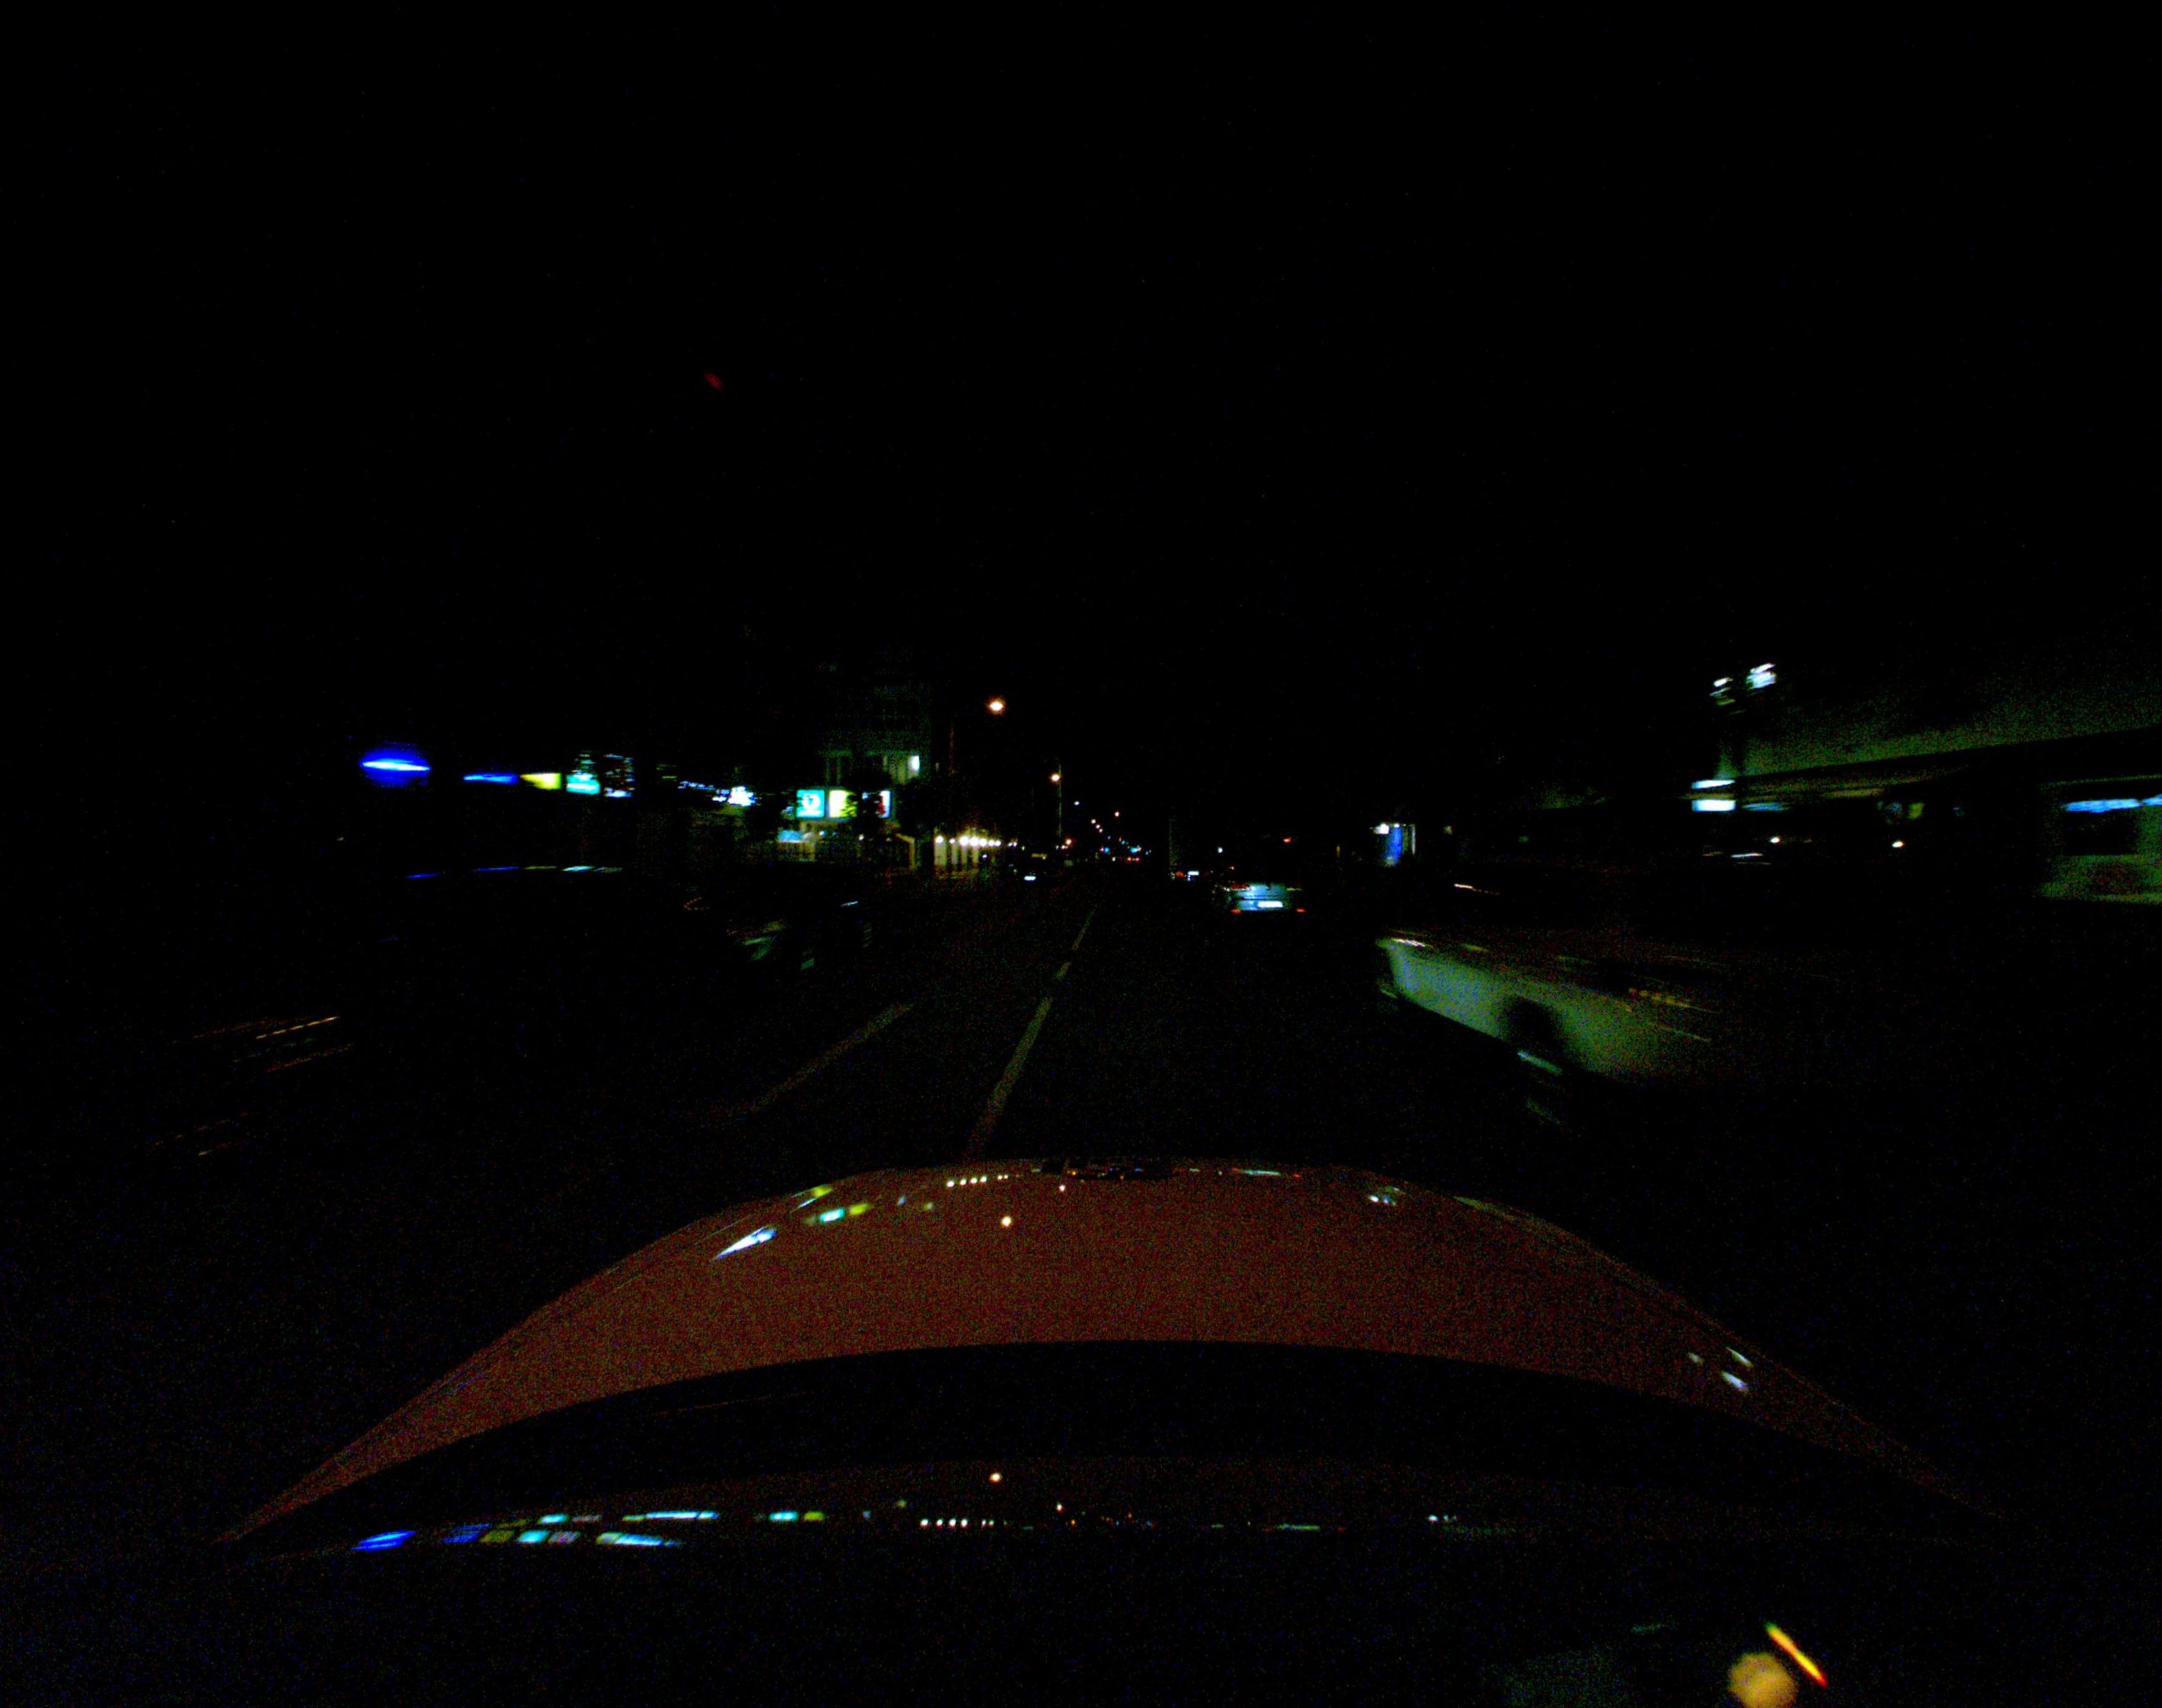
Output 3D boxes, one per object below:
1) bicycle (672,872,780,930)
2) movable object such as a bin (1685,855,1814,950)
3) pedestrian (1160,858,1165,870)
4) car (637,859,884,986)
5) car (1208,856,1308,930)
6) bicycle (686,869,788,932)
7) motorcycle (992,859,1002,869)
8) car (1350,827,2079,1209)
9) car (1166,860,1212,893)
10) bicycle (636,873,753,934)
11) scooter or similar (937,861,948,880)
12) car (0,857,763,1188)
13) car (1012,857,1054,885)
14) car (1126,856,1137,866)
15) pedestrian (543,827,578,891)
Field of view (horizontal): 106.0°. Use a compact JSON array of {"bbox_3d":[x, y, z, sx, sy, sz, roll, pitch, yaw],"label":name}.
[{"bbox_3d":[-6.910,0.907,15.897,1.843,1.035,0.533,2,0,2],"label":"bicycle"},{"bbox_3d":[10.084,0.707,12.332,1.156,1.371,0.993,1,0,1],"label":"movable object such as a bin"},{"bbox_3d":[12.336,1.472,123.146,0.700,1.818,1.083,0,0,3],"label":"pedestrian"},{"bbox_3d":[-4.282,0.823,11.622,1.715,1.428,3.979,2,0,3],"label":"car"},{"bbox_3d":[4.028,0.825,19.138,1.682,1.537,4.019,-1,0,3],"label":"car"},{"bbox_3d":[-6.989,0.934,16.567,1.843,1.254,0.533,0,0,2],"label":"bicycle"},{"bbox_3d":[-8.306,1.000,80.538,0.475,1.020,1.681,0,0,13],"label":"motorcycle"},{"bbox_3d":[3.296,0.693,5.476,1.762,1.537,4.220,-2,0,3],"label":"car"},{"bbox_3d":[4.947,0.988,37.713,1.756,1.414,4.812,-1,0,4],"label":"car"},{"bbox_3d":[-7.000,0.891,14.794,1.843,1.000,0.533,2,0,2],"label":"bicycle"},{"bbox_3d":[-9.391,1.107,55.251,0.385,1.221,1.346,0,0,6],"label":"scooter or similar"},{"bbox_3d":[-4.416,0.768,6.161,1.799,1.425,4.925,2,0,3],"label":"car"},{"bbox_3d":[-2.529,0.877,43.874,1.734,1.413,4.499,1,0,3],"label":"car"},{"bbox_3d":[9.073,1.281,146.737,1.985,1.643,4.002,-1,0,2],"label":"car"},{"bbox_3d":[-13.592,0.132,21.277,0.476,1.636,0.632,0,-1,3],"label":"pedestrian"}]
